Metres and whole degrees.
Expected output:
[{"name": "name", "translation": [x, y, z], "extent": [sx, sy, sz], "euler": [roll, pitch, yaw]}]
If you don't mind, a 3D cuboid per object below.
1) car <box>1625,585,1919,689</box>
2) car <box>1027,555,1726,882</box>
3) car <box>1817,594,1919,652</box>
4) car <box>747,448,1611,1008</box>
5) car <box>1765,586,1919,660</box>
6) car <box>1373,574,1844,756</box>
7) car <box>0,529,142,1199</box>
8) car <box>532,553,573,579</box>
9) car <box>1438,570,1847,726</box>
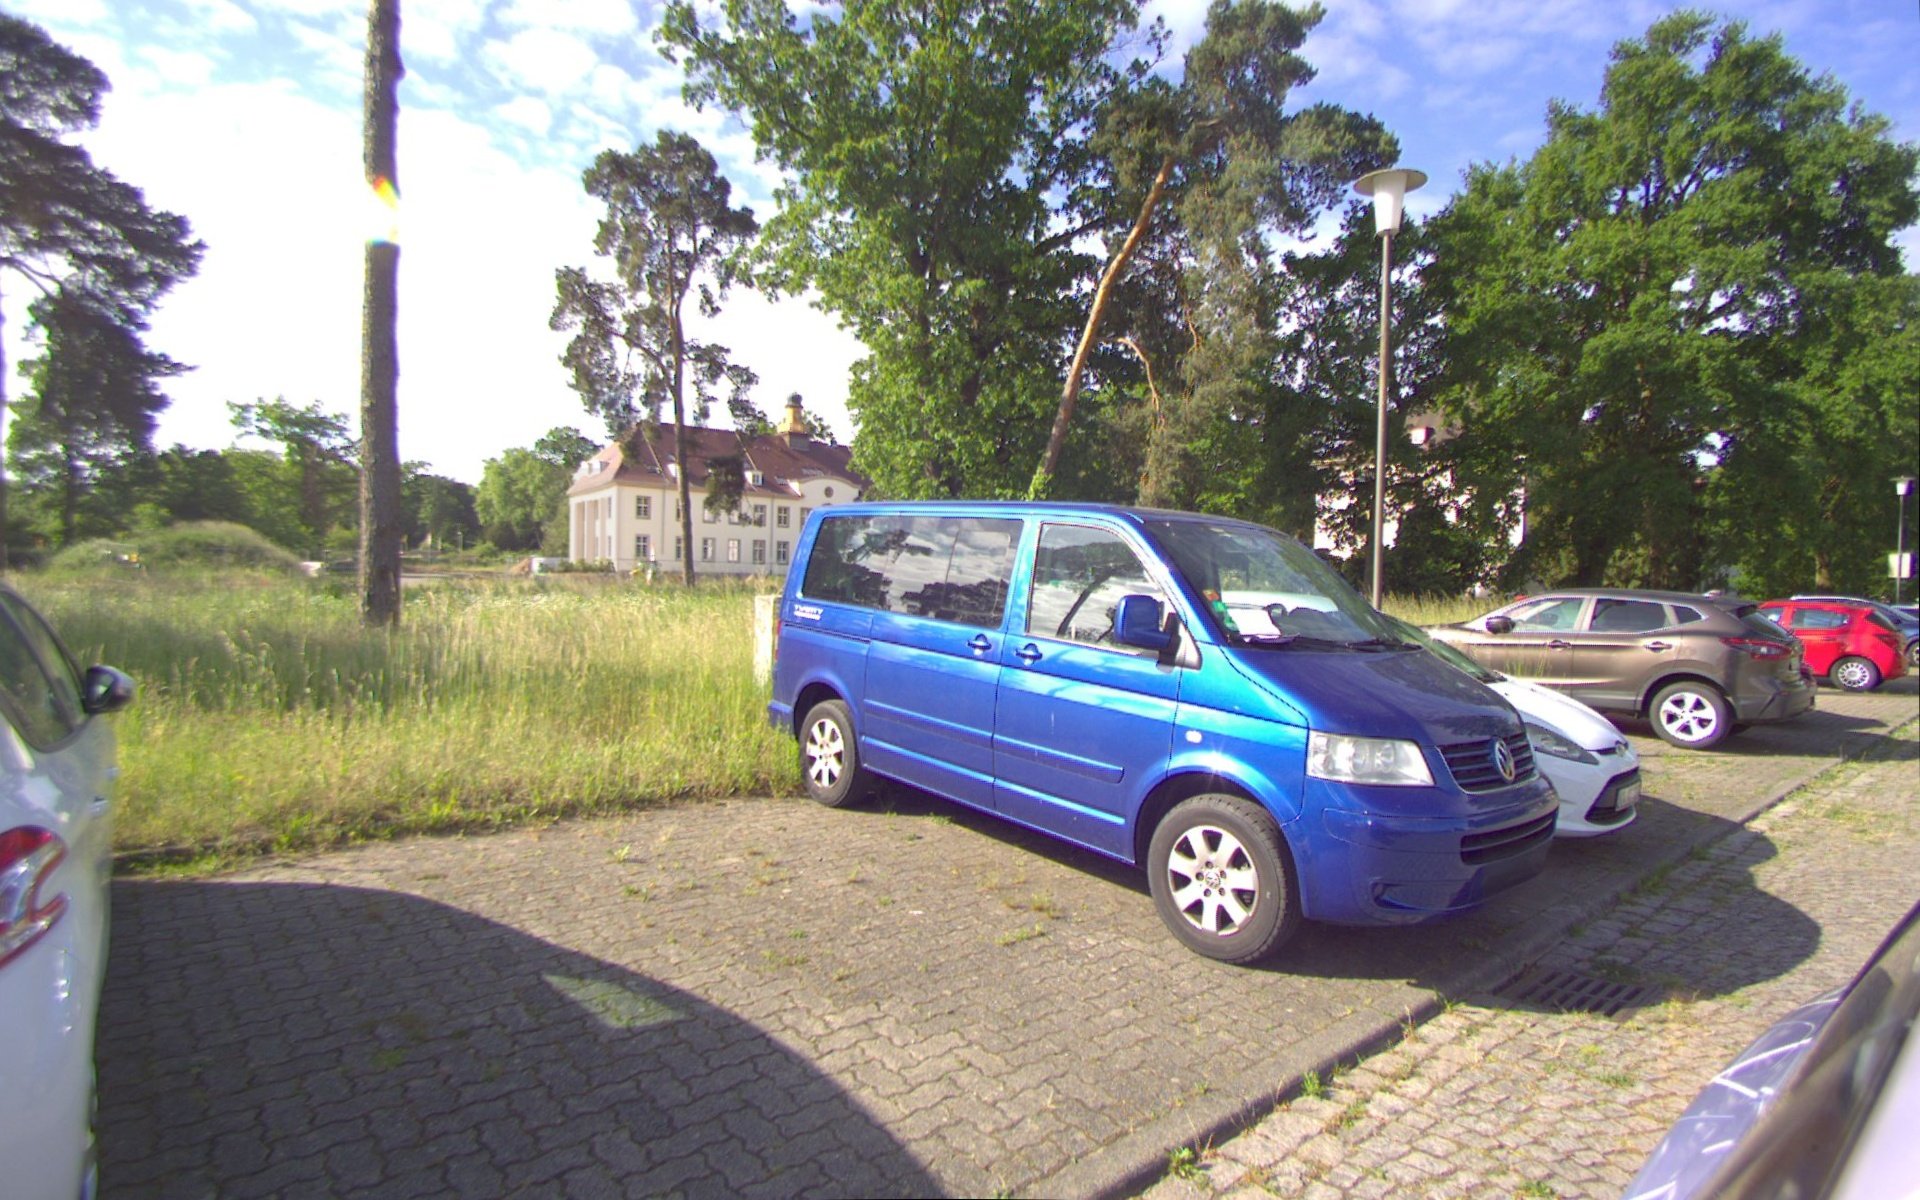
[{"name": "car", "translation": [14.858, 0.582, 18.537], "extent": [1.821, 1.477, 4.095], "euler": [1, 3, -41]}, {"name": "car", "translation": [2.738, 0.541, 7.558], "extent": [1.905, 1.596, 4.408], "euler": [0, 3, -40]}, {"name": "car", "translation": [26.328, 0.685, 27.714], "extent": [1.754, 1.440, 4.095], "euler": [1, 3, -41]}, {"name": "car", "translation": [0.783, 0.315, 5.962], "extent": [1.965, 1.959, 4.709], "euler": [0, 3, -40]}, {"name": "car", "translation": [22.648, 0.575, 24.935], "extent": [1.821, 1.576, 4.095], "euler": [1, 3, -41]}, {"name": "car", "translation": [7.291, 0.560, 11.718], "extent": [1.902, 1.617, 4.232], "euler": [-1, 3, -43]}, {"name": "car", "translation": [-3.262, 0.585, 2.625], "extent": [1.729, 1.553, 3.717], "euler": [1, 3, -39]}, {"name": "car", "translation": [-37.045, -3.029, 91.959], "extent": [1.967, 2.240, 4.422], "euler": [-1, 0, -44]}, {"name": "car", "translation": [9.076, 0.489, 13.730], "extent": [1.902, 1.617, 4.232], "euler": [-1, 4, -43]}]
